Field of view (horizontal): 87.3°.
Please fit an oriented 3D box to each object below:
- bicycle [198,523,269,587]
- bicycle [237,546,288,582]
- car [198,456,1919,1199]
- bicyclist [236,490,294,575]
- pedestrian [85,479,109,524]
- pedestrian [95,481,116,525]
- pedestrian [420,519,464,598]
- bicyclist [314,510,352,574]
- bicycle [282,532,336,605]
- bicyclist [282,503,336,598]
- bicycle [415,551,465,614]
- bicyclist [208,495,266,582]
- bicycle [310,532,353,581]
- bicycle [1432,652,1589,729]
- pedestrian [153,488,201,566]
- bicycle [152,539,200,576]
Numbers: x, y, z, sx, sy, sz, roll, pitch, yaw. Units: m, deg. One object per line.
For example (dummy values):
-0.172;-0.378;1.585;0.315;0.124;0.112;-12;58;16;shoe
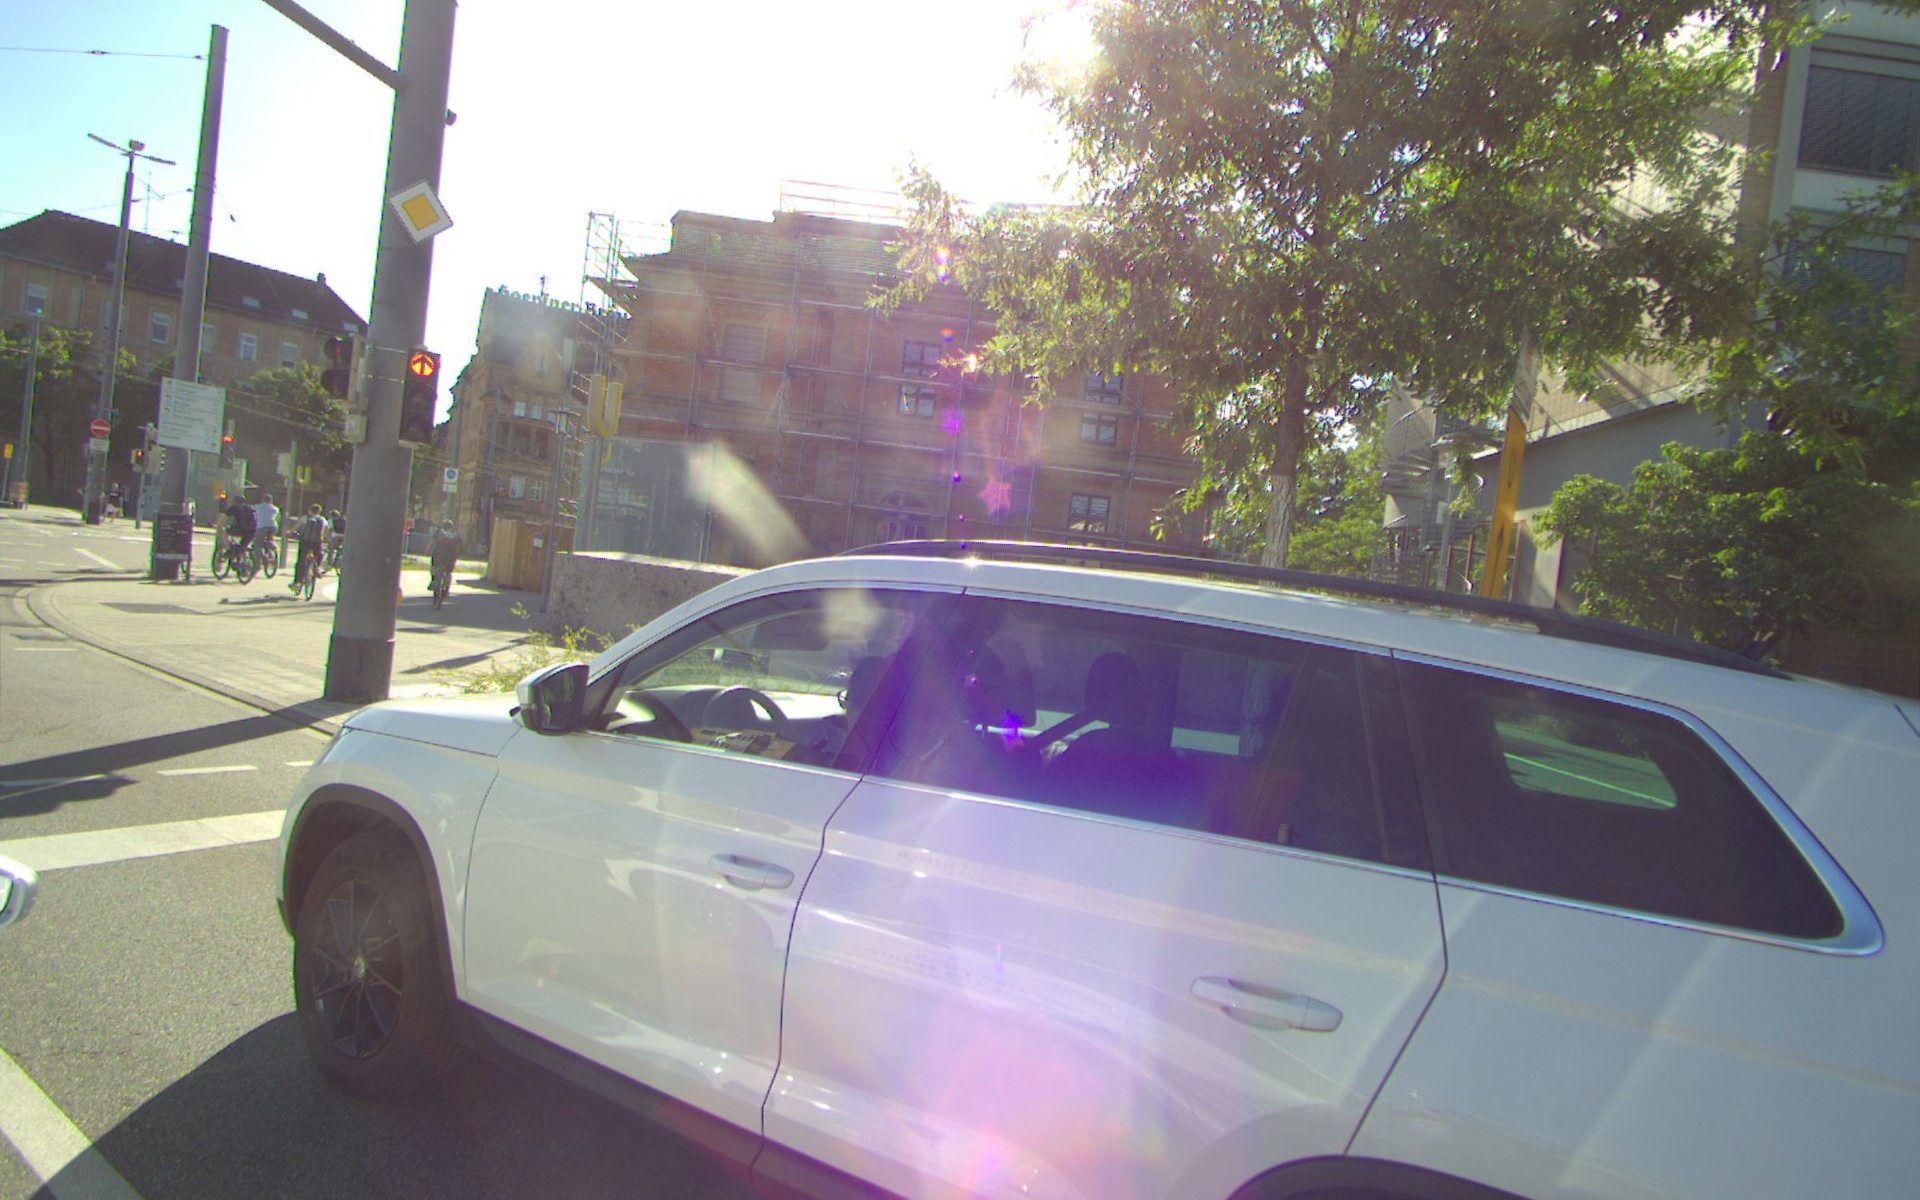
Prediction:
-14.731;-0.912;20.387;1.822;1.129;0.624;7;3;37;bicycle
-15.894;-0.829;22.914;1.446;0.664;0.536;7;2;39;bicycle
0.023;0.675;2.681;4.224;1.662;1.697;7;0;30;car
-15.760;-1.521;22.809;0.910;1.802;0.746;8;2;39;bicyclist
-41.158;-4.673;47.962;0.443;2.039;0.574;7;1;14;pedestrian
-41.415;-4.682;48.773;0.443;2.039;0.462;7;2;14;pedestrian
-9.804;-0.794;19.016;0.513;1.421;0.952;4;3;-37;pedestrian
-16.535;-1.539;26.521;0.569;1.588;0.935;6;1;-43;bicyclist
-11.771;-0.593;18.155;0.681;1.178;1.865;5;1;-35;bicycle
-11.774;-0.896;18.195;0.681;1.619;0.968;5;2;-35;bicyclist
-9.880;-0.350;19.095;0.513;1.058;1.750;4;3;-36;bicycle
-14.576;-1.237;20.274;0.980;1.660;0.624;7;4;37;bicyclist
-16.557;-1.167;26.495;0.569;1.139;1.719;6;1;-43;bicycle
13.083;2.137;23.996;3.079;1.395;0.798;7;1;8;bicycle
-16.879;-1.576;21.691;0.846;1.582;0.547;7;1;41;pedestrian
-17.070;-0.924;21.889;1.701;0.664;0.535;7;3;42;bicycle
